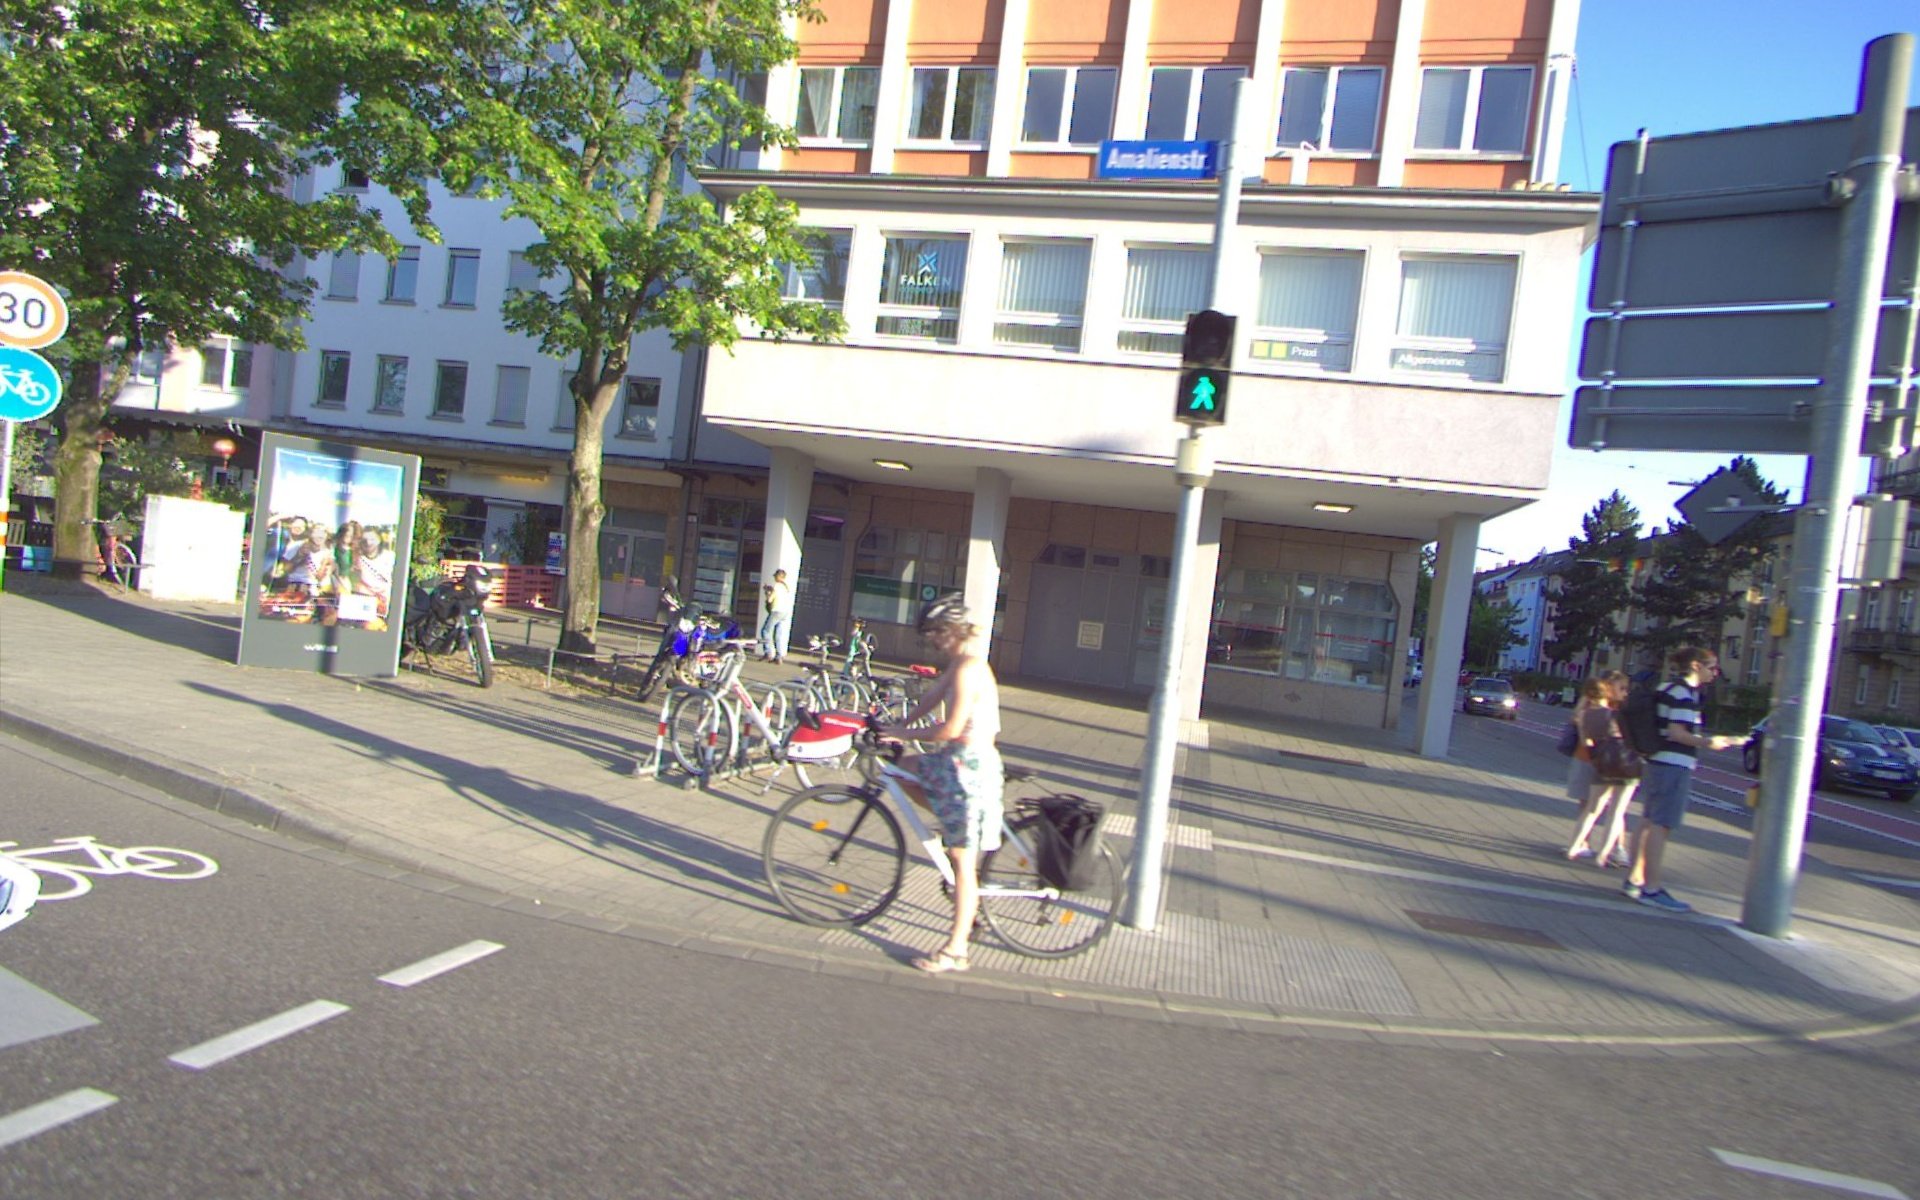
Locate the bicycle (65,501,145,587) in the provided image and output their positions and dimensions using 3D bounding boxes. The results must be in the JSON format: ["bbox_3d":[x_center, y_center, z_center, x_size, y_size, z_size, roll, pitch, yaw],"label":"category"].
[{"bbox_3d":[-14.191,-0.942,16.674,2.050,1.225,0.446,8,0,36],"label":"bicycle"}]

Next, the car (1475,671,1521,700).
[{"bbox_3d":[41.593,6.606,77.898,1.962,1.806,4.003,8,-1,13],"label":"car"}]

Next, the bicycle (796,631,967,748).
[{"bbox_3d":[-0.876,0.991,11.312,1.760,1.040,0.365,8,0,7],"label":"bicycle"}]

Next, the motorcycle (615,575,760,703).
[{"bbox_3d":[-3.315,0.489,12.474,0.631,1.370,2.150,8,-1,13],"label":"motorcycle"}]

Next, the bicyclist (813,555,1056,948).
[{"bbox_3d":[-0.072,0.625,4.508,0.791,1.498,0.798,8,0,7],"label":"bicyclist"}]

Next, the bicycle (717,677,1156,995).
[{"bbox_3d":[-0.092,1.004,4.524,1.760,1.040,0.516,8,0,7],"label":"bicycle"}]

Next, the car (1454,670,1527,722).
[{"bbox_3d":[19.985,3.559,38.048,1.709,1.595,4.111,8,-1,20],"label":"car"}]

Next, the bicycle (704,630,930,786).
[{"bbox_3d":[-1.214,0.897,8.571,1.760,1.040,0.361,8,0,8],"label":"bicycle"}]

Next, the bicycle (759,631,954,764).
[{"bbox_3d":[-1.018,0.947,9.961,1.760,1.040,0.361,8,0,8],"label":"bicycle"}]

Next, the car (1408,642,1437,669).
[{"bbox_3d":[48.786,5.878,106.195,1.962,2.550,4.003,8,-1,16],"label":"car"}]

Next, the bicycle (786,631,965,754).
[{"bbox_3d":[-0.902,0.975,10.784,1.760,1.040,0.365,8,0,7],"label":"bicycle"}]

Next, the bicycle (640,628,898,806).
[{"bbox_3d":[-1.426,0.854,7.536,1.760,1.040,0.361,8,0,8],"label":"bicycle"}]

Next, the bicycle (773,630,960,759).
[{"bbox_3d":[-0.953,0.957,10.362,1.760,1.040,0.365,8,0,7],"label":"bicycle"}]

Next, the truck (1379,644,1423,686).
[{"bbox_3d":[28.401,4.158,64.888,1.962,2.372,4.001,8,0,18],"label":"truck"}]

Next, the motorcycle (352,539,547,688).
[{"bbox_3d":[-5.717,0.138,11.223,2.163,1.360,0.642,8,0,26],"label":"motorcycle"}]

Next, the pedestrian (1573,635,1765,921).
[{"bbox_3d":[5.410,1.310,7.745,0.832,1.982,0.702,7,1,21],"label":"pedestrian"}]

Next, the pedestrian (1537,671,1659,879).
[{"bbox_3d":[5.628,1.511,8.873,0.697,1.665,0.516,8,1,37],"label":"pedestrian"}]

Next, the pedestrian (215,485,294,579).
[{"bbox_3d":[-14.232,-1.356,20.302,0.759,1.748,0.894,8,2,7],"label":"pedestrian"}]

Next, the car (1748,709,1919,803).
[{"bbox_3d":[19.405,3.382,22.277,1.770,1.469,3.926,8,0,20],"label":"car"}]

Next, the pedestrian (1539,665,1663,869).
[{"bbox_3d":[5.937,1.510,9.326,0.760,1.715,0.516,8,2,35],"label":"pedestrian"}]

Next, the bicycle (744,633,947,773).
[{"bbox_3d":[-1.080,0.953,9.531,1.760,1.040,0.361,8,0,8],"label":"bicycle"}]

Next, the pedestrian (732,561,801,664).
[{"bbox_3d":[-3.546,0.231,18.481,0.860,1.746,0.656,8,1,12],"label":"pedestrian"}]

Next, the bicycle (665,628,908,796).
[{"bbox_3d":[-1.375,0.868,7.987,1.760,1.040,0.361,8,0,9],"label":"bicycle"}]

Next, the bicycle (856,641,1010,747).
[{"bbox_3d":[-0.331,1.152,12.518,1.760,1.040,0.365,8,0,7],"label":"bicycle"}]

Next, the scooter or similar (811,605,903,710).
[{"bbox_3d":[-1.478,0.788,14.235,0.307,1.279,1.508,7,0,-42],"label":"scooter or similar"}]

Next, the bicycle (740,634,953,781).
[{"bbox_3d":[-1.017,0.946,9.082,1.760,1.040,0.369,8,0,7],"label":"bicycle"}]
